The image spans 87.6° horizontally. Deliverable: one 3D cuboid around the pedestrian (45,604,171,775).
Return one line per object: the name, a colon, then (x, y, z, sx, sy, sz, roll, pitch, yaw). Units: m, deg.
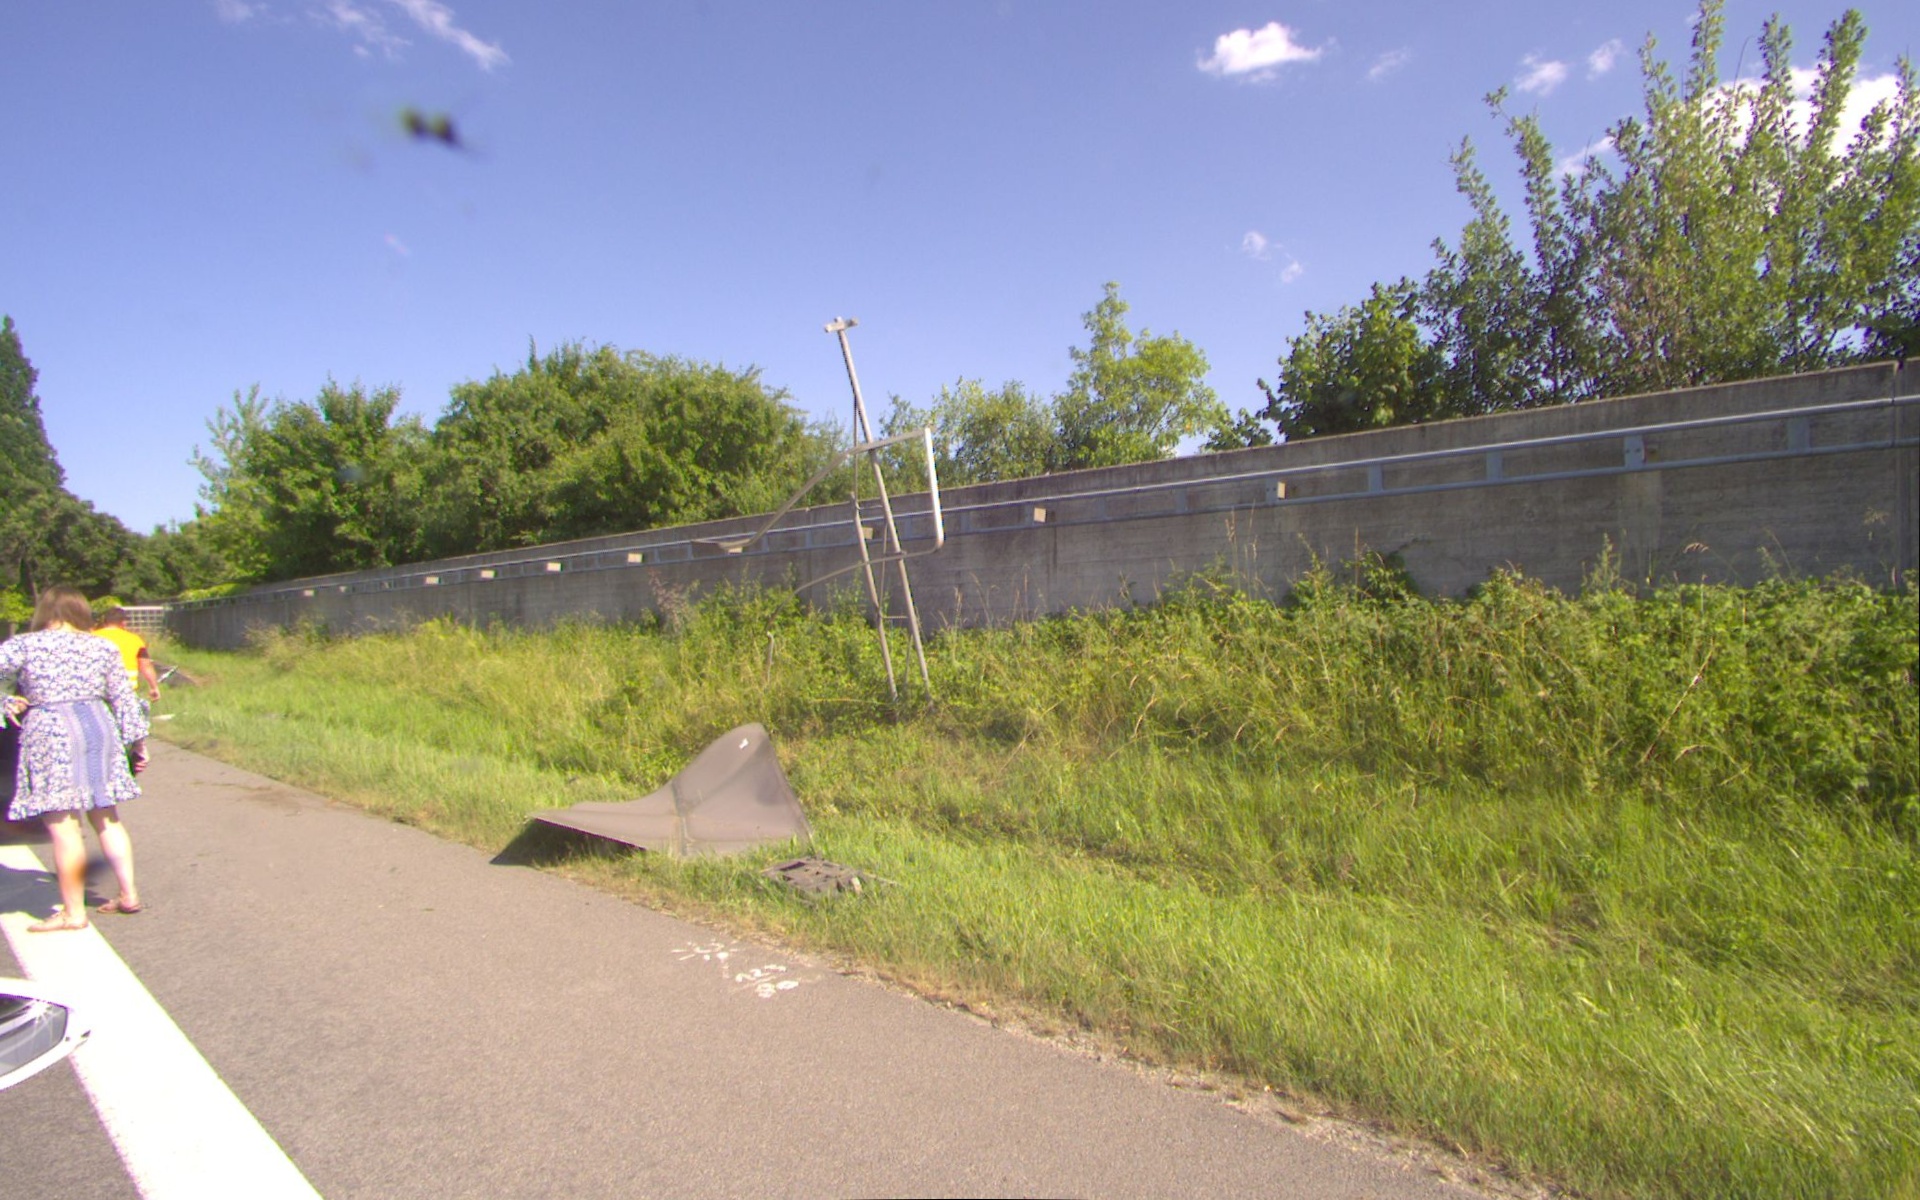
pedestrian: (-9.005, 0.892, 10.622, 0.950, 1.675, 1.267, -1, 0, -40)

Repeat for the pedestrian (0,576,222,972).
pedestrian: (-4.492, 0.763, 4.973, 1.110, 1.718, 0.890, -1, 0, 24)

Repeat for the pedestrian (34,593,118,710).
pedestrian: (-13.755, 0.794, 15.586, 0.746, 1.747, 0.890, -1, -2, 42)
